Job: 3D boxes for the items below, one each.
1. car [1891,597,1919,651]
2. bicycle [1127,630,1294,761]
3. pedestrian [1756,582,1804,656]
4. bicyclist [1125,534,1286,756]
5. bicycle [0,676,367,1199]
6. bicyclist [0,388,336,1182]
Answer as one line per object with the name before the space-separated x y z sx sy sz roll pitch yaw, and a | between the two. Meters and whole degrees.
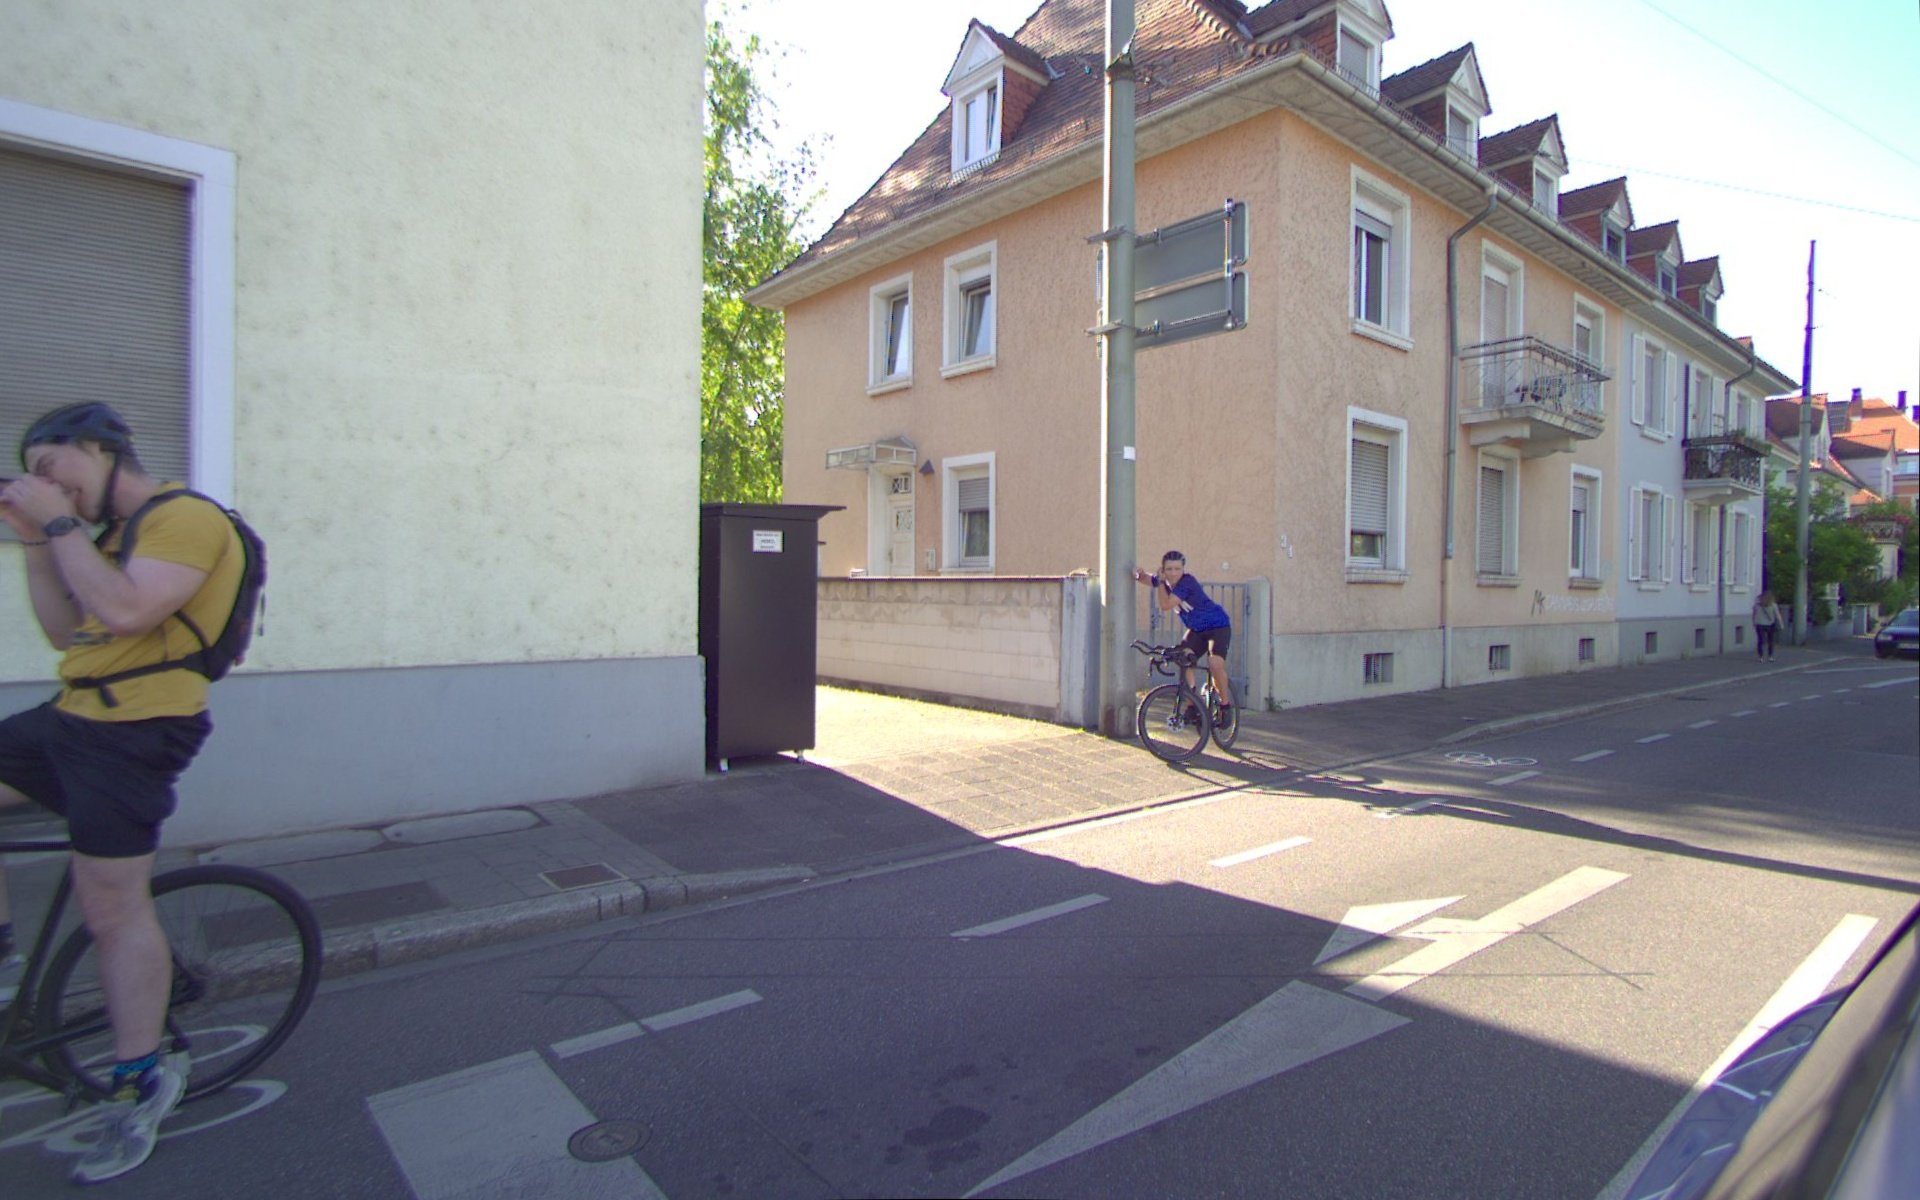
car | 26.683 0.634 27.337 3.796 1.382 1.648 0 1 -38
bicycle | 2.303 0.820 9.200 1.669 1.003 0.572 0 4 -41
pedestrian | 19.186 0.435 23.669 1.079 1.682 0.694 0 0 -41
bicyclist | 2.270 0.363 9.425 0.831 1.887 1.076 0 4 -40
bicycle | -2.490 0.845 2.526 1.669 1.180 0.572 0 1 -41
bicyclist | -2.314 0.423 2.691 1.018 1.840 0.653 0 1 -41
